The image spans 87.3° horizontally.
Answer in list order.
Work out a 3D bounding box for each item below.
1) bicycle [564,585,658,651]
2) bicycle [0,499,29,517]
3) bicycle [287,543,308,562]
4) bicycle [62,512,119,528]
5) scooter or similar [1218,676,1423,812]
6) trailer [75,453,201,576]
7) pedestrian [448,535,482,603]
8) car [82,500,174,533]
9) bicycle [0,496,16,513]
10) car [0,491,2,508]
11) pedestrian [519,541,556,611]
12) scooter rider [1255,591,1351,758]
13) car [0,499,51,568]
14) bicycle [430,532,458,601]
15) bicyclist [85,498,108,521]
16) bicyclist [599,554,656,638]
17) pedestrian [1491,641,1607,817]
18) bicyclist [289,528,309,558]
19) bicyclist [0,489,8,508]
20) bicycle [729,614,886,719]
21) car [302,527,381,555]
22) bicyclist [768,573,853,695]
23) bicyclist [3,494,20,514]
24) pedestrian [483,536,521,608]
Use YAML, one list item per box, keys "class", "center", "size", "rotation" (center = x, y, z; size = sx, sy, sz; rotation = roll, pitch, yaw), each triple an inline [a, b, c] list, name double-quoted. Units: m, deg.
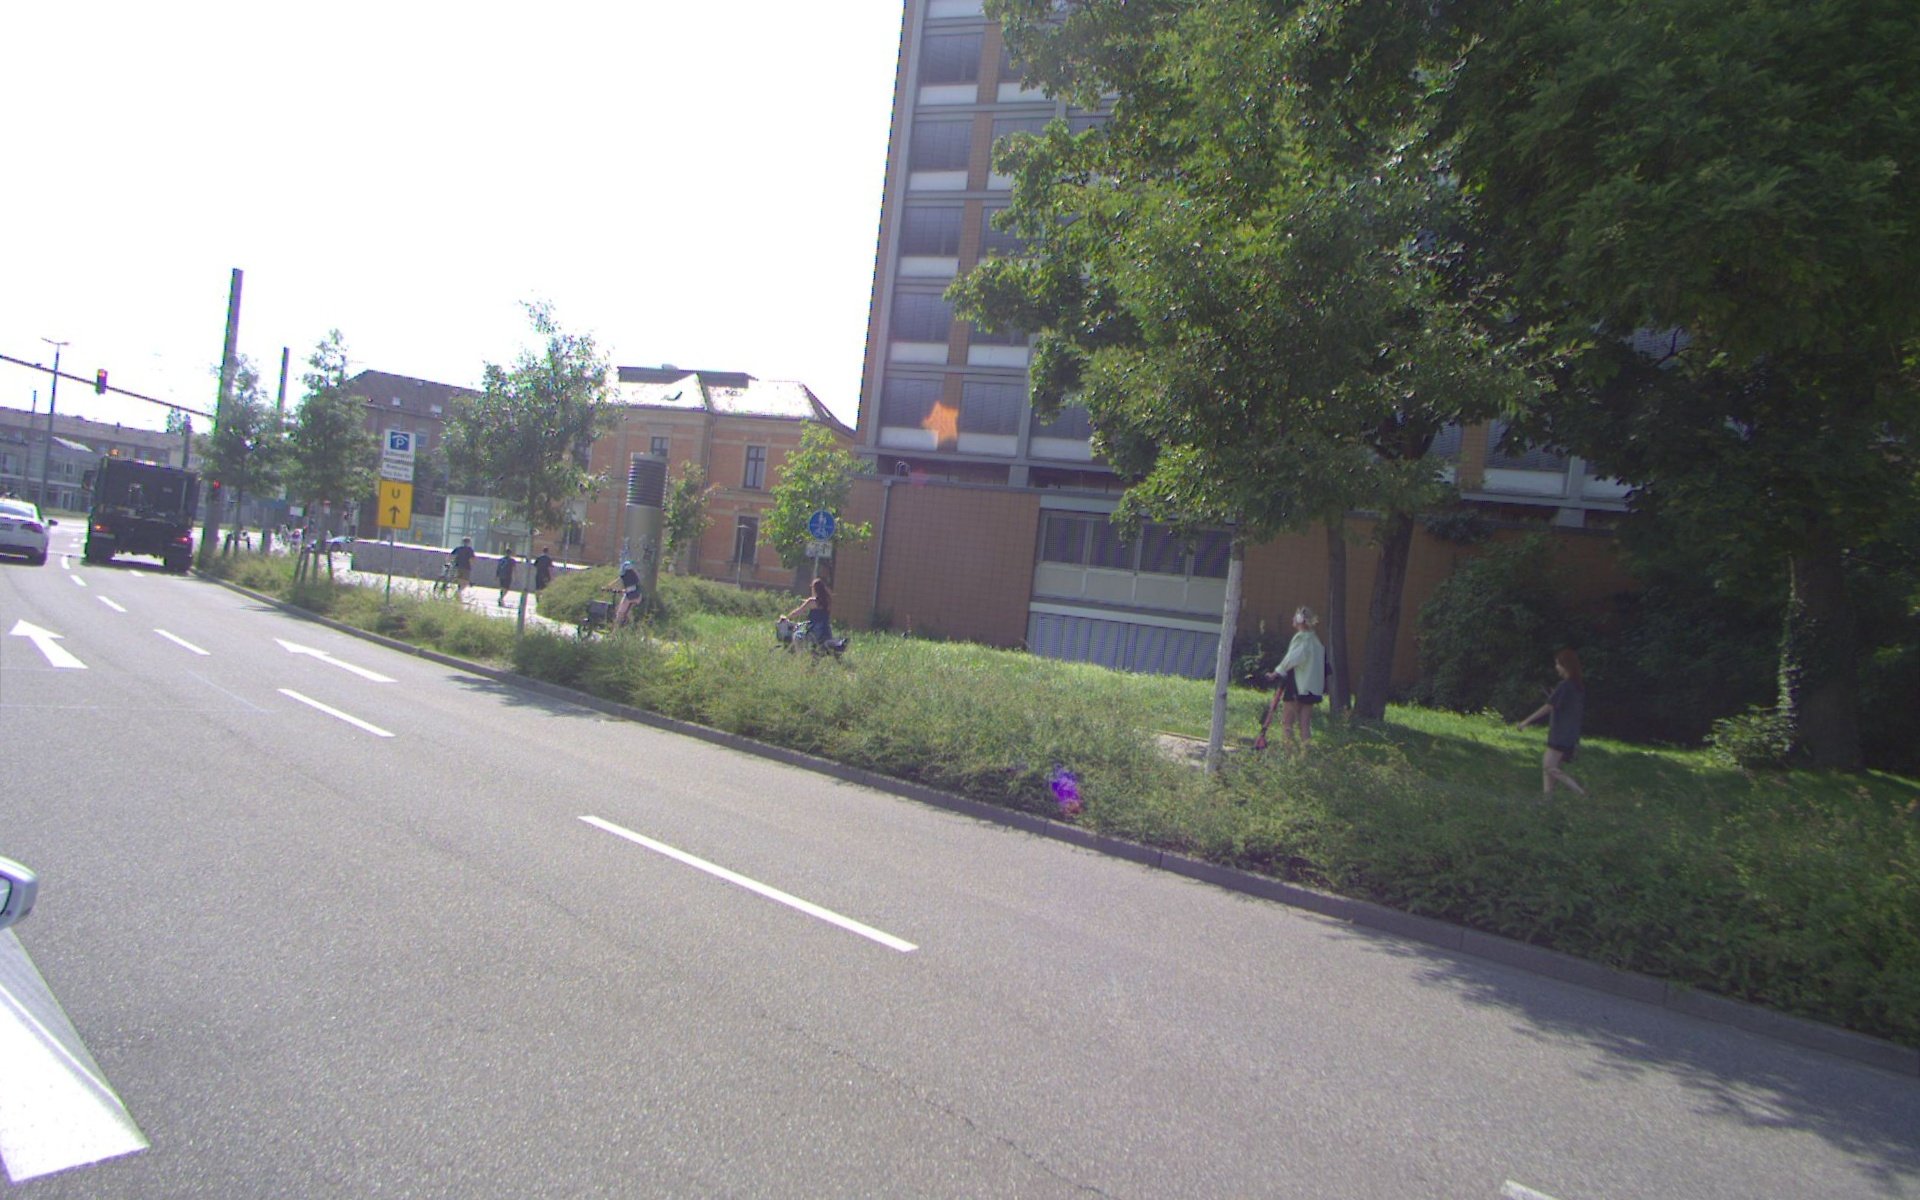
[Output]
- class: "bicycle"
  center: [-6.854, 0.350, 19.721]
  size: [1.971, 1.073, 0.556]
  rotation: [6, 1, 33]
- class: "bicycle"
  center: [-64.588, -6.265, 68.534]
  size: [0.498, 0.997, 1.593]
  rotation: [7, 0, 30]
- class: "bicycle"
  center: [-32.440, -2.318, 49.260]
  size: [0.671, 0.786, 2.106]
  rotation: [6, 0, -37]
- class: "bicycle"
  center: [-62.731, -5.757, 72.608]
  size: [0.850, 0.736, 2.940]
  rotation: [7, -1, 28]
- class: "scooter or similar"
  center: [3.808, 1.488, 10.798]
  size: [0.553, 1.074, 1.982]
  rotation: [4, 2, -39]
- class: "trailer"
  center: [-25.181, -2.602, 30.708]
  size: [2.455, 3.043, 6.251]
  rotation: [9, -1, -41]
- class: "pedestrian"
  center: [-14.369, -0.910, 29.211]
  size: [0.655, 1.883, 0.786]
  rotation: [6, 1, -31]
- class: "car"
  center: [-51.631, -5.163, 62.519]
  size: [1.742, 1.442, 4.069]
  rotation: [7, 0, 13]
- class: "bicycle"
  center: [-63.960, -6.438, 66.908]
  size: [1.577, 0.997, 0.504]
  rotation: [7, 0, -27]
- class: "car"
  center: [-84.106, -8.814, 86.305]
  size: [1.714, 1.437, 3.813]
  rotation: [7, 0, -28]
- class: "pedestrian"
  center: [-12.656, -0.735, 30.161]
  size: [0.771, 1.998, 0.748]
  rotation: [6, 1, -28]
- class: "scooter rider"
  center: [3.728, 0.805, 10.949]
  size: [0.666, 1.722, 0.533]
  rotation: [4, 3, -39]
- class: "car"
  center: [-23.740, -1.747, 24.842]
  size: [1.752, 1.472, 4.373]
  rotation: [8, -1, -42]
- class: "bicycle"
  center: [-14.814, -0.982, 28.869]
  size: [0.452, 1.883, 1.352]
  rotation: [6, 1, -31]
- class: "bicyclist"
  center: [-62.518, -6.558, 72.832]
  size: [0.850, 1.520, 0.905]
  rotation: [7, 1, 28]
- class: "bicyclist"
  center: [-6.437, -0.074, 19.461]
  size: [0.790, 1.515, 0.549]
  rotation: [7, 1, 33]
- class: "pedestrian"
  center: [6.396, 1.361, 10.926]
  size: [0.865, 1.727, 0.705]
  rotation: [7, 3, 36]
- class: "bicyclist"
  center: [-32.320, -2.794, 49.157]
  size: [0.671, 1.336, 0.676]
  rotation: [6, 1, -37]
- class: "bicyclist"
  center: [-63.850, -6.787, 66.946]
  size: [0.499, 1.203, 0.504]
  rotation: [6, 1, -27]
- class: "bicycle"
  center: [-2.201, 0.902, 14.279]
  size: [2.335, 1.170, 0.693]
  rotation: [7, 2, 37]
- class: "car"
  center: [-46.206, -4.370, 75.264]
  size: [1.915, 1.417, 4.575]
  rotation: [7, -1, 34]
- class: "bicyclist"
  center: [-2.115, 0.471, 14.224]
  size: [0.831, 1.620, 0.689]
  rotation: [7, 3, 37]
- class: "bicyclist"
  center: [-64.578, -6.552, 68.493]
  size: [0.498, 1.262, 0.595]
  rotation: [7, 1, 30]
- class: "pedestrian"
  center: [-13.370, -0.832, 29.367]
  size: [0.771, 1.998, 0.748]
  rotation: [6, 1, -28]
